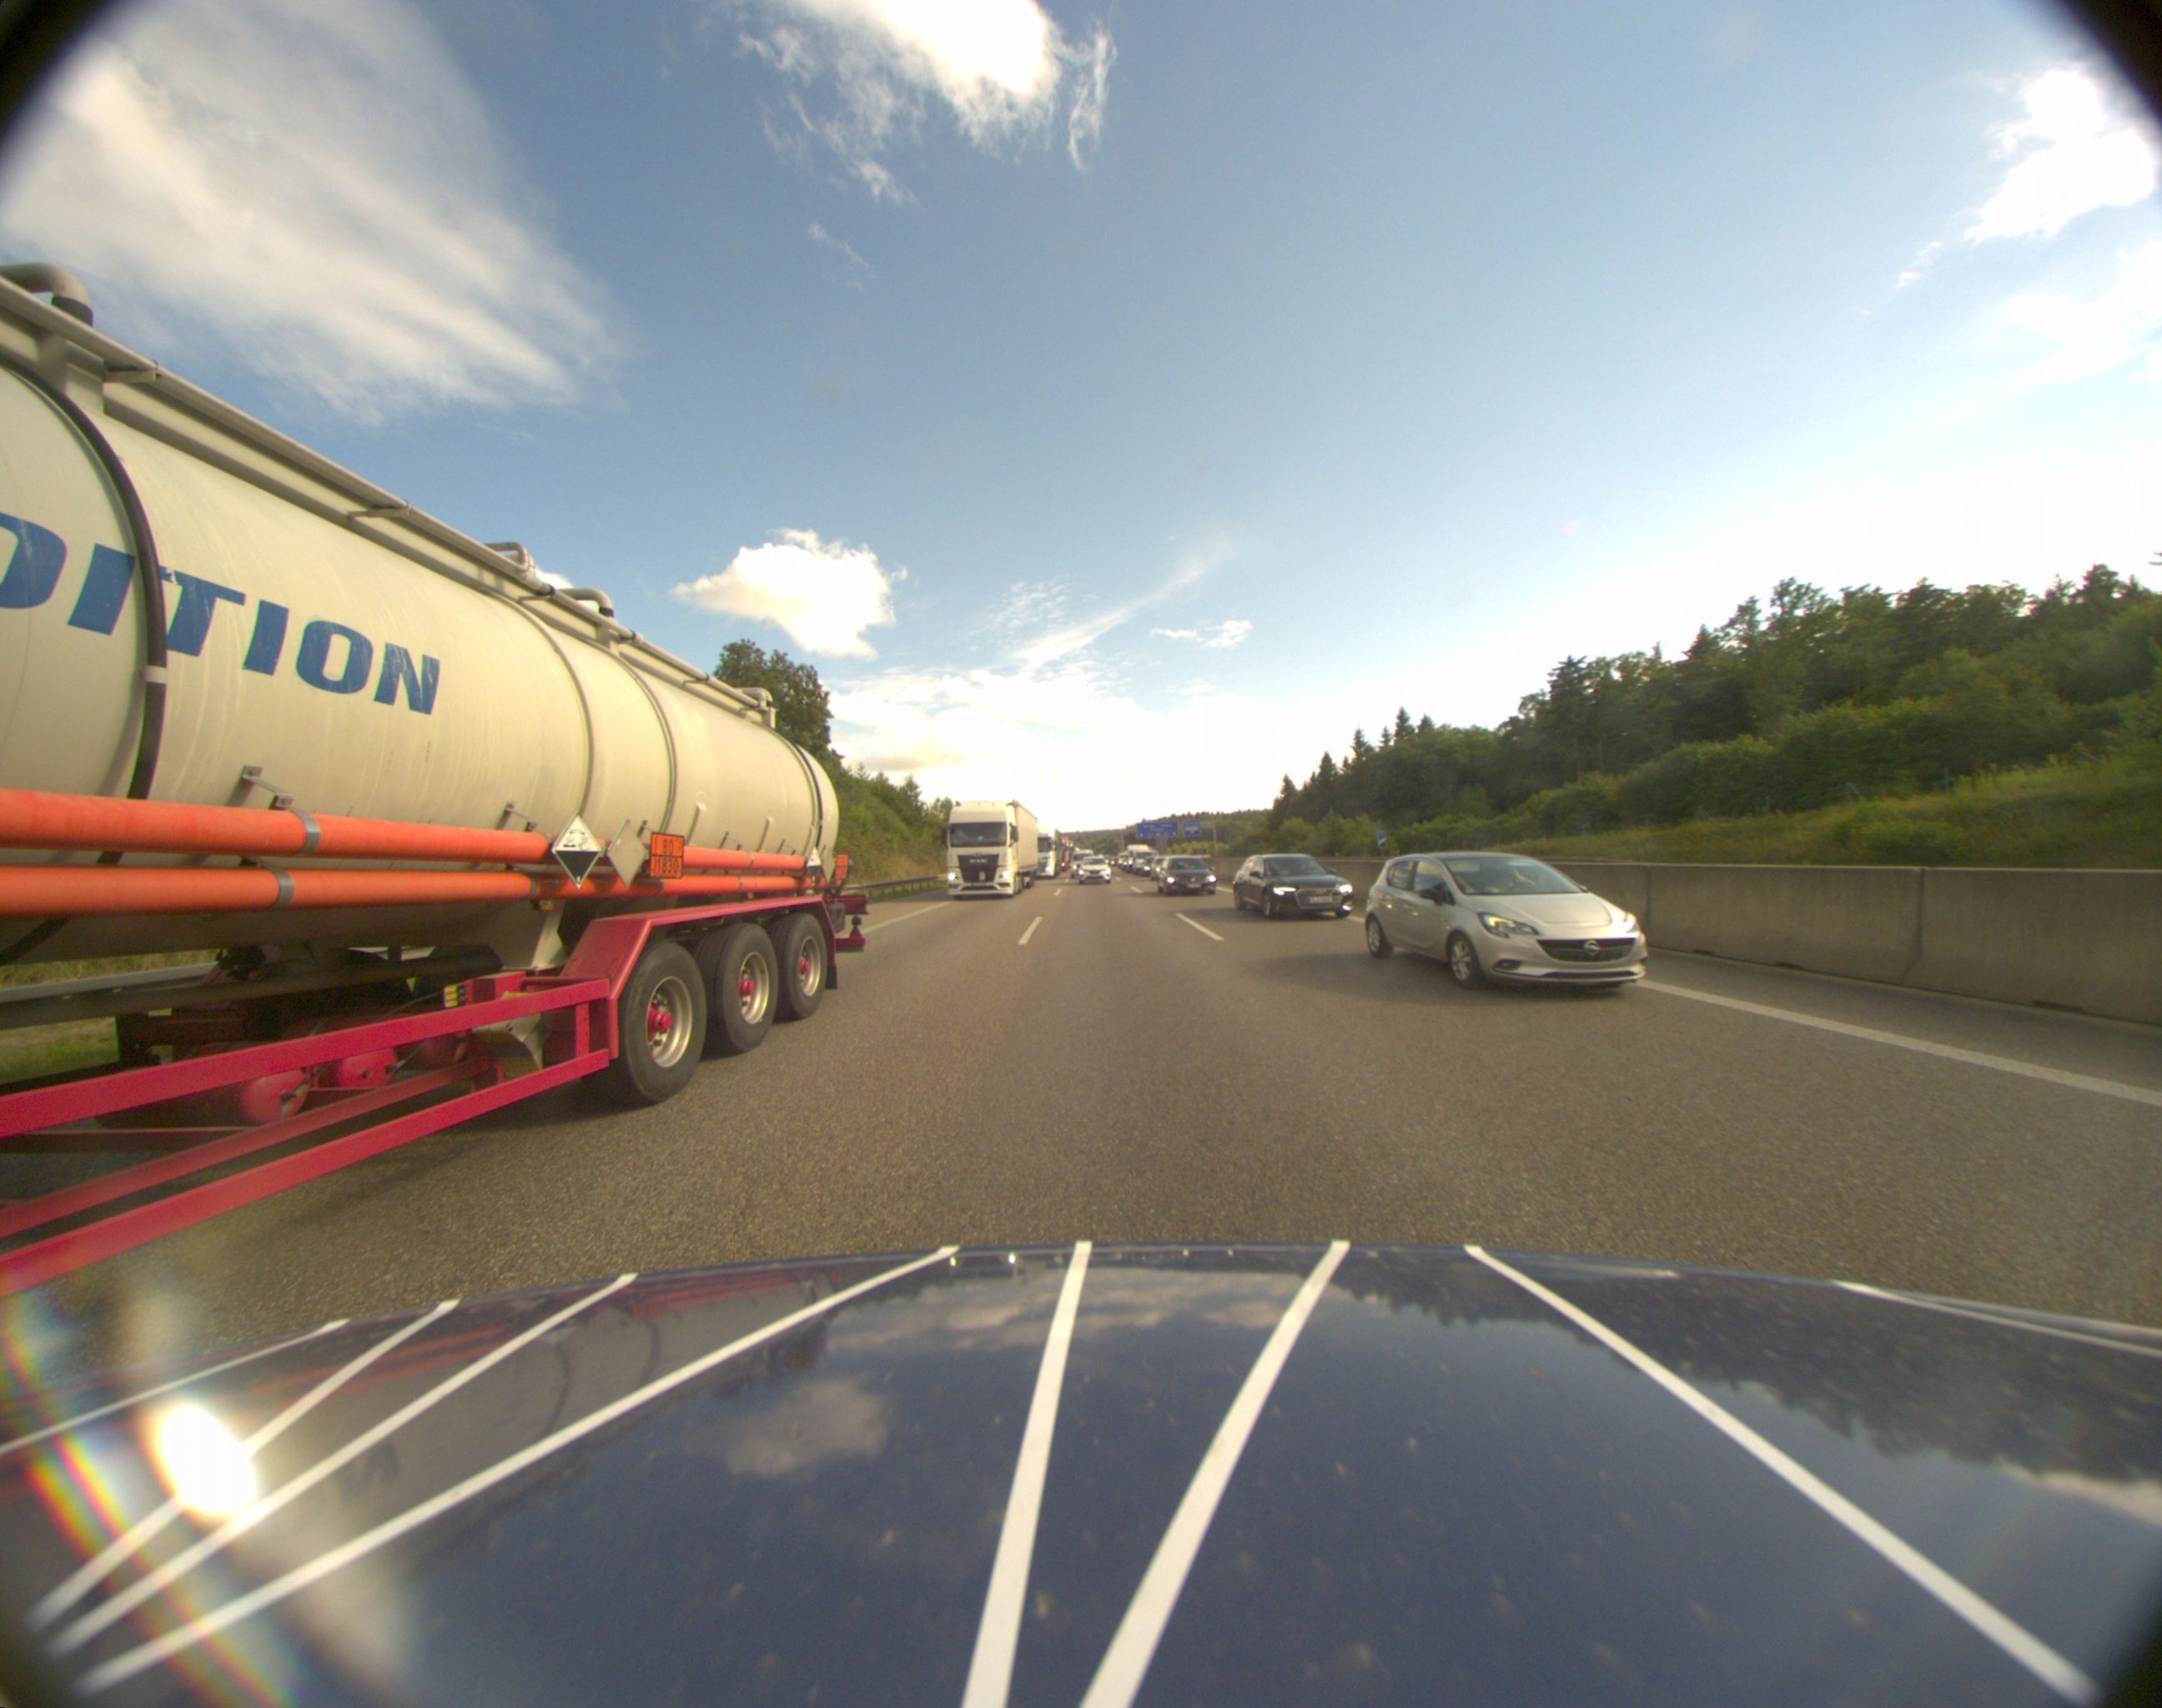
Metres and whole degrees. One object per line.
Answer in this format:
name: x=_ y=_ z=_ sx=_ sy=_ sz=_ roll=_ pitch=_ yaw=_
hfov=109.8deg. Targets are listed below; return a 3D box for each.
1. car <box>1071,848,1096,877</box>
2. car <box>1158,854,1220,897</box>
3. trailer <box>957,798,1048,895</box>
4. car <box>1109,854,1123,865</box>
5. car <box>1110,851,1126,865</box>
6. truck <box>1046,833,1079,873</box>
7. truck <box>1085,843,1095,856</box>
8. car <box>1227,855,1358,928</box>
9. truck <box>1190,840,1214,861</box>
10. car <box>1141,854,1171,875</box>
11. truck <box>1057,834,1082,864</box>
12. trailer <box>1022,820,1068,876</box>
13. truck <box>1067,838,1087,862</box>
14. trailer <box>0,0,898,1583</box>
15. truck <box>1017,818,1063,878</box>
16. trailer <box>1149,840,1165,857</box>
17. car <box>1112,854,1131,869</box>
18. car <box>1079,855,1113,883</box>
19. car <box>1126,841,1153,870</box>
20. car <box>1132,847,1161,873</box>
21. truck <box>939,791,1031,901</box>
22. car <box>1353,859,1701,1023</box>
car: x=0.209 y=0.636 z=57.589 sx=1.809 sy=2.052 sz=4.770 roll=-2 pitch=0 yaw=1
car: x=4.081 y=0.773 z=29.449 sx=1.915 sy=1.469 sz=4.569 roll=-1 pitch=0 yaw=3
trailer: x=-3.620 y=-0.345 z=38.881 sx=2.833 sy=4.047 sz=13.372 roll=-1 pitch=0 yaw=1
car: x=5.327 y=0.834 z=116.482 sx=1.920 sy=1.535 sz=3.811 roll=-2 pitch=0 yaw=1
car: x=4.878 y=0.486 z=99.628 sx=1.920 sy=1.785 sz=3.811 roll=-2 pitch=0 yaw=1
truck: x=-2.012 y=-0.186 z=87.541 sx=2.840 sy=4.178 sz=12.045 roll=-2 pitch=1 yaw=2
truck: x=2.987 y=-1.452 z=254.463 sx=2.840 sy=4.178 sz=12.045 roll=-2 pitch=1 yaw=2
car: x=4.955 y=0.805 z=18.545 sx=1.887 sy=1.463 sz=4.852 roll=-2 pitch=0 yaw=1
truck: x=17.613 y=-0.502 z=111.077 sx=2.429 sy=2.838 sz=6.430 roll=-2 pitch=0 yaw=0
car: x=5.390 y=0.748 z=54.901 sx=1.809 sy=1.423 sz=3.994 roll=-2 pitch=0 yaw=1
truck: x=-1.570 y=-0.750 z=112.599 sx=2.840 sy=4.178 sz=12.045 roll=-2 pitch=1 yaw=2
trailer: x=-2.879 y=-0.434 z=64.765 sx=2.841 sy=4.177 sz=13.613 roll=-2 pitch=0 yaw=1
truck: x=-0.661 y=-0.825 z=140.915 sx=2.840 sy=4.178 sz=12.045 roll=-2 pitch=1 yaw=2
trailer: x=-3.970 y=-0.240 z=4.268 sx=2.805 sy=4.003 sz=11.182 roll=-1 pitch=0 yaw=1
truck: x=-3.003 y=-0.415 z=57.279 sx=2.841 sy=4.177 sz=5.707 roll=-2 pitch=0 yaw=1
trailer: x=22.377 y=-1.604 z=224.656 sx=2.934 sy=4.802 sz=14.651 roll=-2 pitch=1 yaw=0
car: x=4.120 y=0.710 z=77.779 sx=1.809 sy=1.423 sz=3.660 roll=-2 pitch=0 yaw=1
car: x=0.863 y=0.844 z=44.308 sx=1.809 sy=1.487 sz=4.666 roll=-1 pitch=0 yaw=1
car: x=5.335 y=0.164 z=70.262 sx=2.054 sy=2.557 sz=5.861 roll=-1 pitch=0 yaw=1
car: x=5.295 y=0.455 z=61.690 sx=1.947 sy=1.953 sz=4.848 roll=-2 pitch=0 yaw=1
truck: x=-3.791 y=-0.297 z=31.333 sx=2.841 sy=4.048 sz=5.707 roll=-1 pitch=0 yaw=1
car: x=4.824 y=0.811 z=9.001 sx=1.751 sy=1.457 sz=4.041 roll=-1 pitch=0 yaw=0
